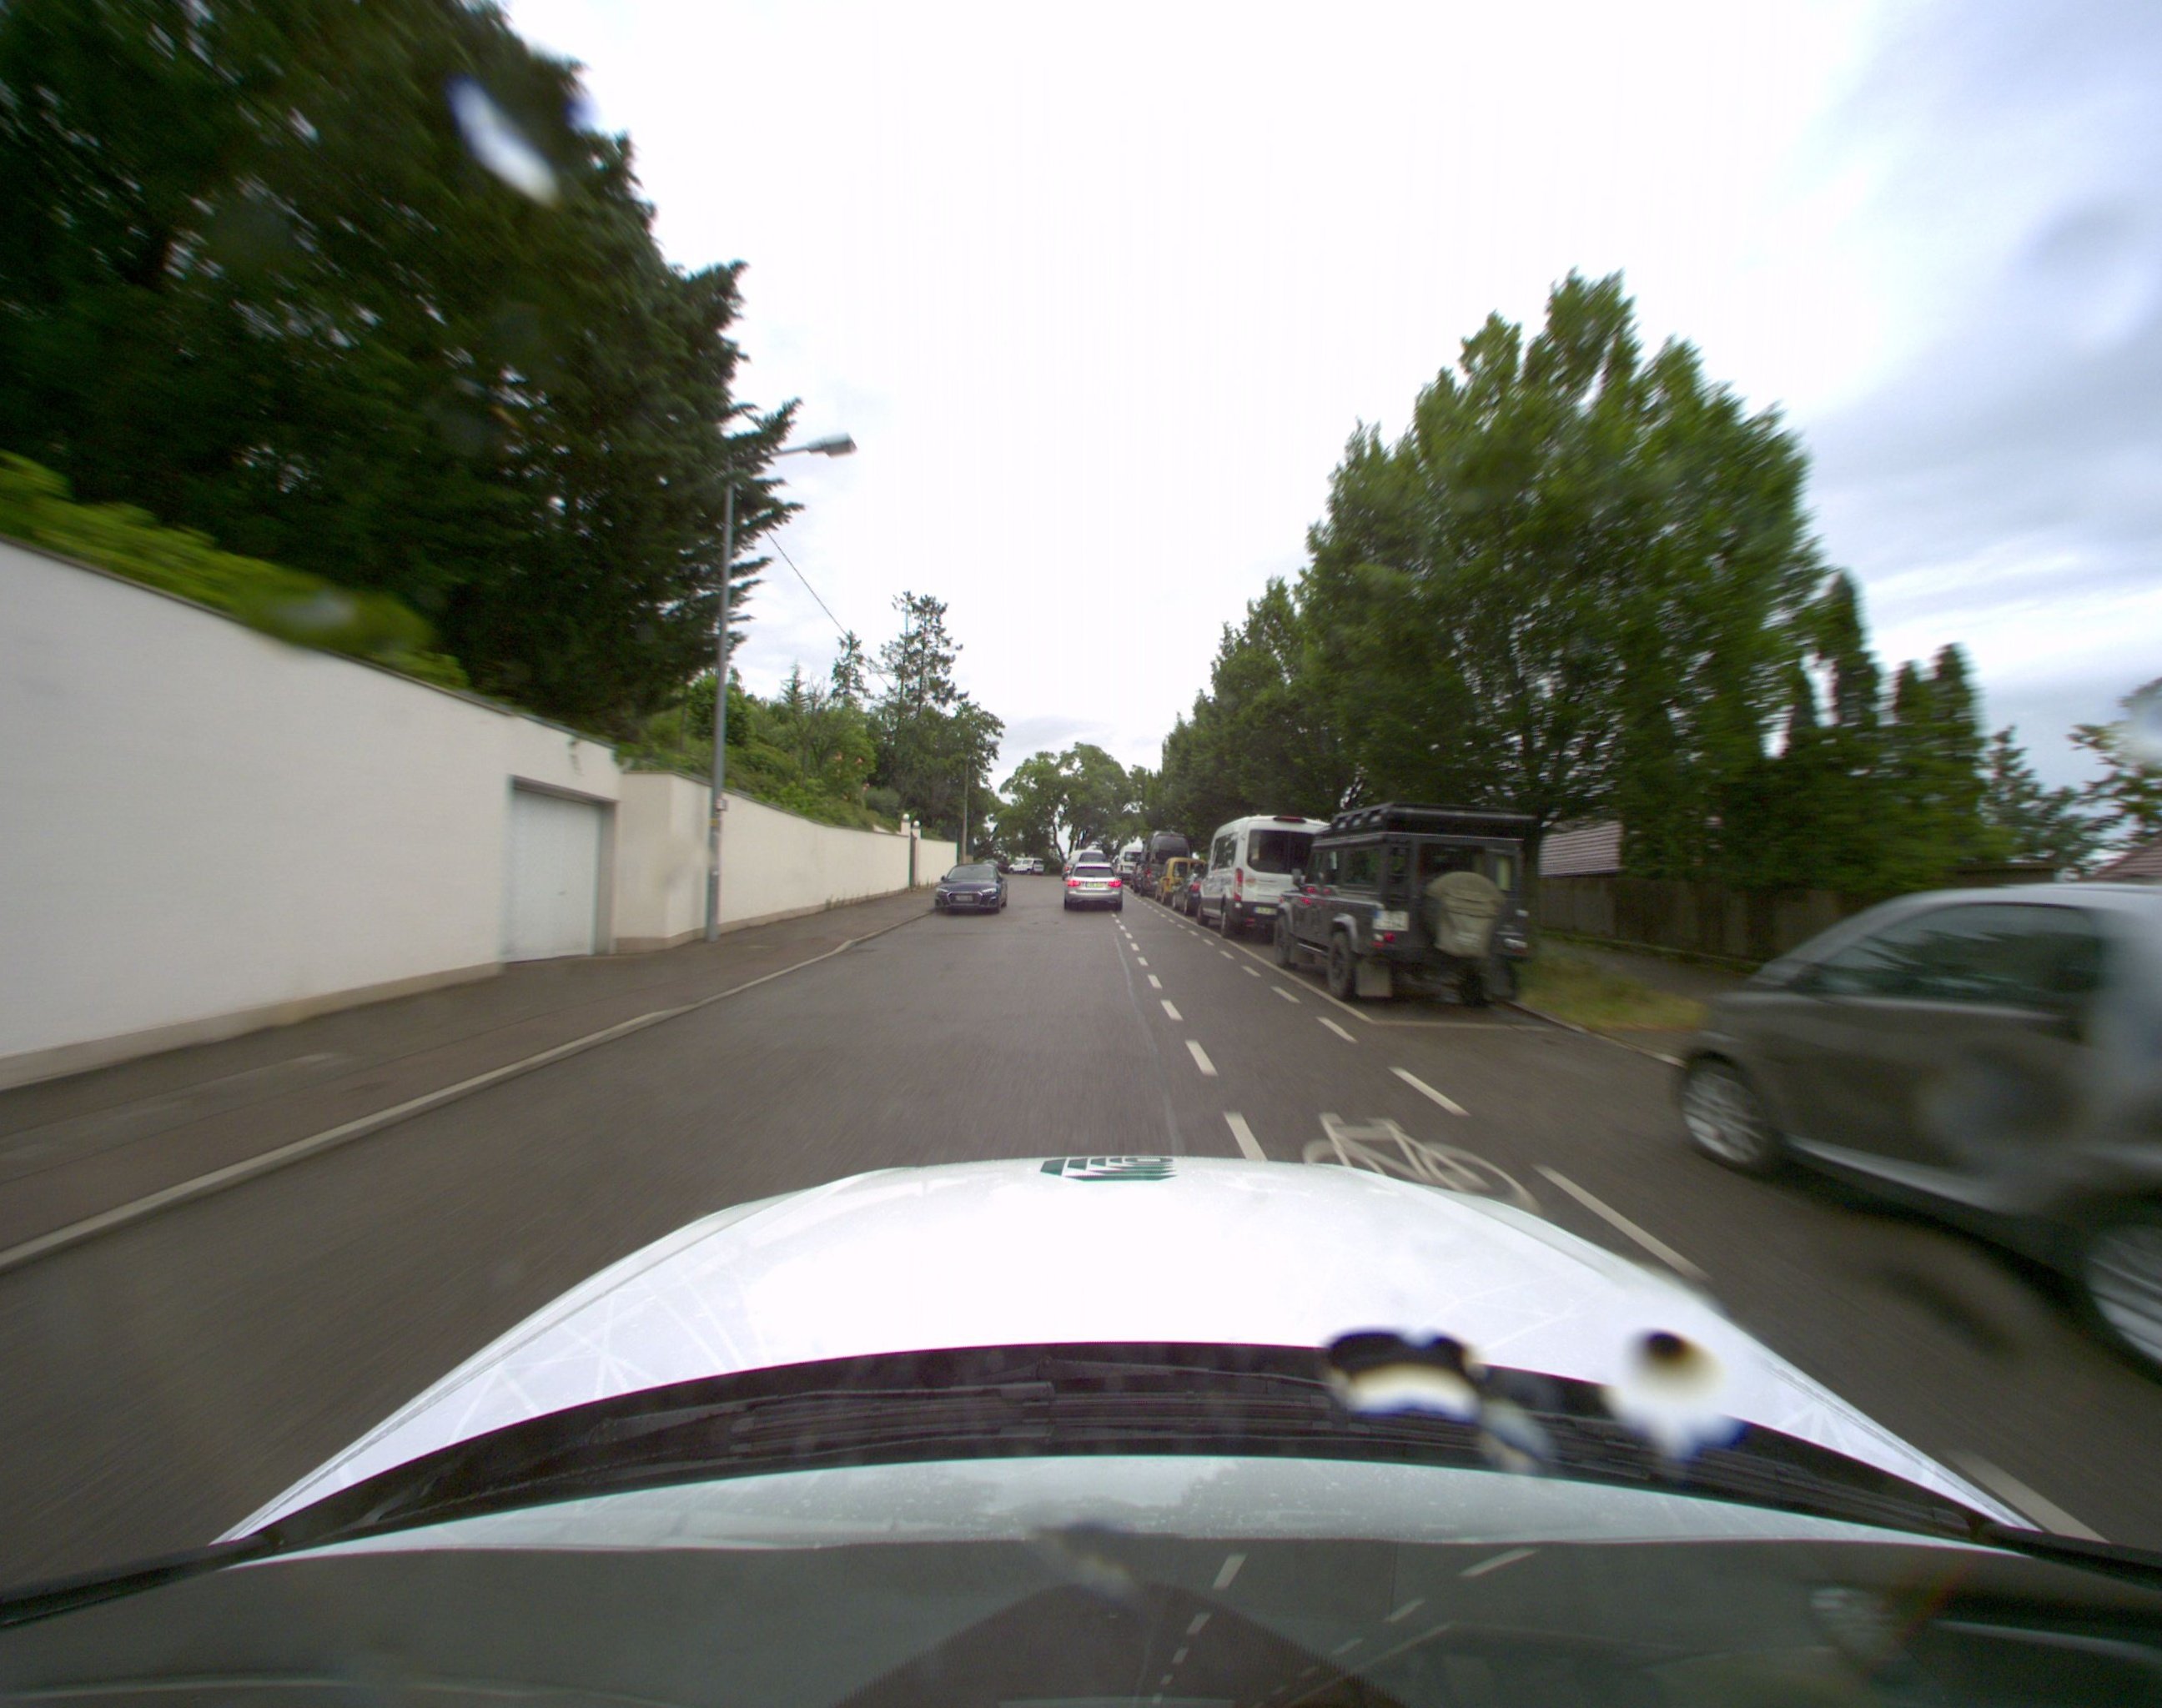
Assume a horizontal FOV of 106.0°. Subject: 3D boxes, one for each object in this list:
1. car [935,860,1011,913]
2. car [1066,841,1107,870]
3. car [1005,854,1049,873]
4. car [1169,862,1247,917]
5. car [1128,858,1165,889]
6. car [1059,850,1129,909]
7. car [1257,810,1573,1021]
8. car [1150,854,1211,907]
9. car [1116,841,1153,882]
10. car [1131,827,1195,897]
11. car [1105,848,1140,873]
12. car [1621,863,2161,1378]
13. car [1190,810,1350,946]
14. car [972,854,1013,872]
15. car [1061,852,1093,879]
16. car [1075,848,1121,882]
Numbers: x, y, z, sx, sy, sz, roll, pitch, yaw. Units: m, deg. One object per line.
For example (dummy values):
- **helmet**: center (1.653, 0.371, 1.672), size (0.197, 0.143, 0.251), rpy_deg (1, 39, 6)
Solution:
- **car**: center (-3.154, 0.912, 24.559), size (1.743, 1.357, 4.423), rpy_deg (-1, 0, -1)
- **car**: center (0.473, 0.135, 76.751), size (2.136, 2.527, 4.460), rpy_deg (3, 0, -25)
- **car**: center (-5.763, 1.014, 86.469), size (4.440, 1.697, 1.982), rpy_deg (3, 0, 40)
- **car**: center (3.930, 1.050, 25.810), size (1.667, 1.458, 4.222), rpy_deg (4, 0, -1)
- **car**: center (3.483, 1.015, 43.904), size (1.578, 1.527, 3.584), rpy_deg (3, 0, -1)
- **car**: center (0.357, 0.729, 25.850), size (2.019, 1.708, 4.214), rpy_deg (0, 0, -1)
- **car**: center (3.906, 0.634, 10.714), size (1.987, 2.052, 5.120), rpy_deg (2, 0, 0)
- **car**: center (3.772, 0.940, 31.431), size (1.722, 1.785, 4.275), rpy_deg (4, 0, 0)
- **car**: center (3.468, 0.456, 53.542), size (2.057, 2.494, 4.758), rpy_deg (3, 0, 0)
- **car**: center (3.675, 0.327, 37.661), size (2.118, 2.887, 5.766), rpy_deg (3, 0, -1)
- **car**: center (3.390, 0.512, 67.279), size (2.062, 1.960, 4.485), rpy_deg (3, 0, -8)
- **car**: center (4.133, 0.845, 3.577), size (1.591, 1.558, 2.955), rpy_deg (1, 0, 1)
- **car**: center (4.029, 0.458, 18.595), size (2.166, 2.493, 6.033), rpy_deg (3, 0, 0)
- **car**: center (-9.785, 0.999, 90.224), size (4.612, 1.697, 1.982), rpy_deg (3, 0, 44)
- **car**: center (-0.220, 0.802, 55.569), size (1.986, 1.708, 4.001), rpy_deg (2, -1, 1)
- **car**: center (0.858, 0.600, 43.772), size (1.991, 1.708, 3.991), rpy_deg (2, -1, -6)
